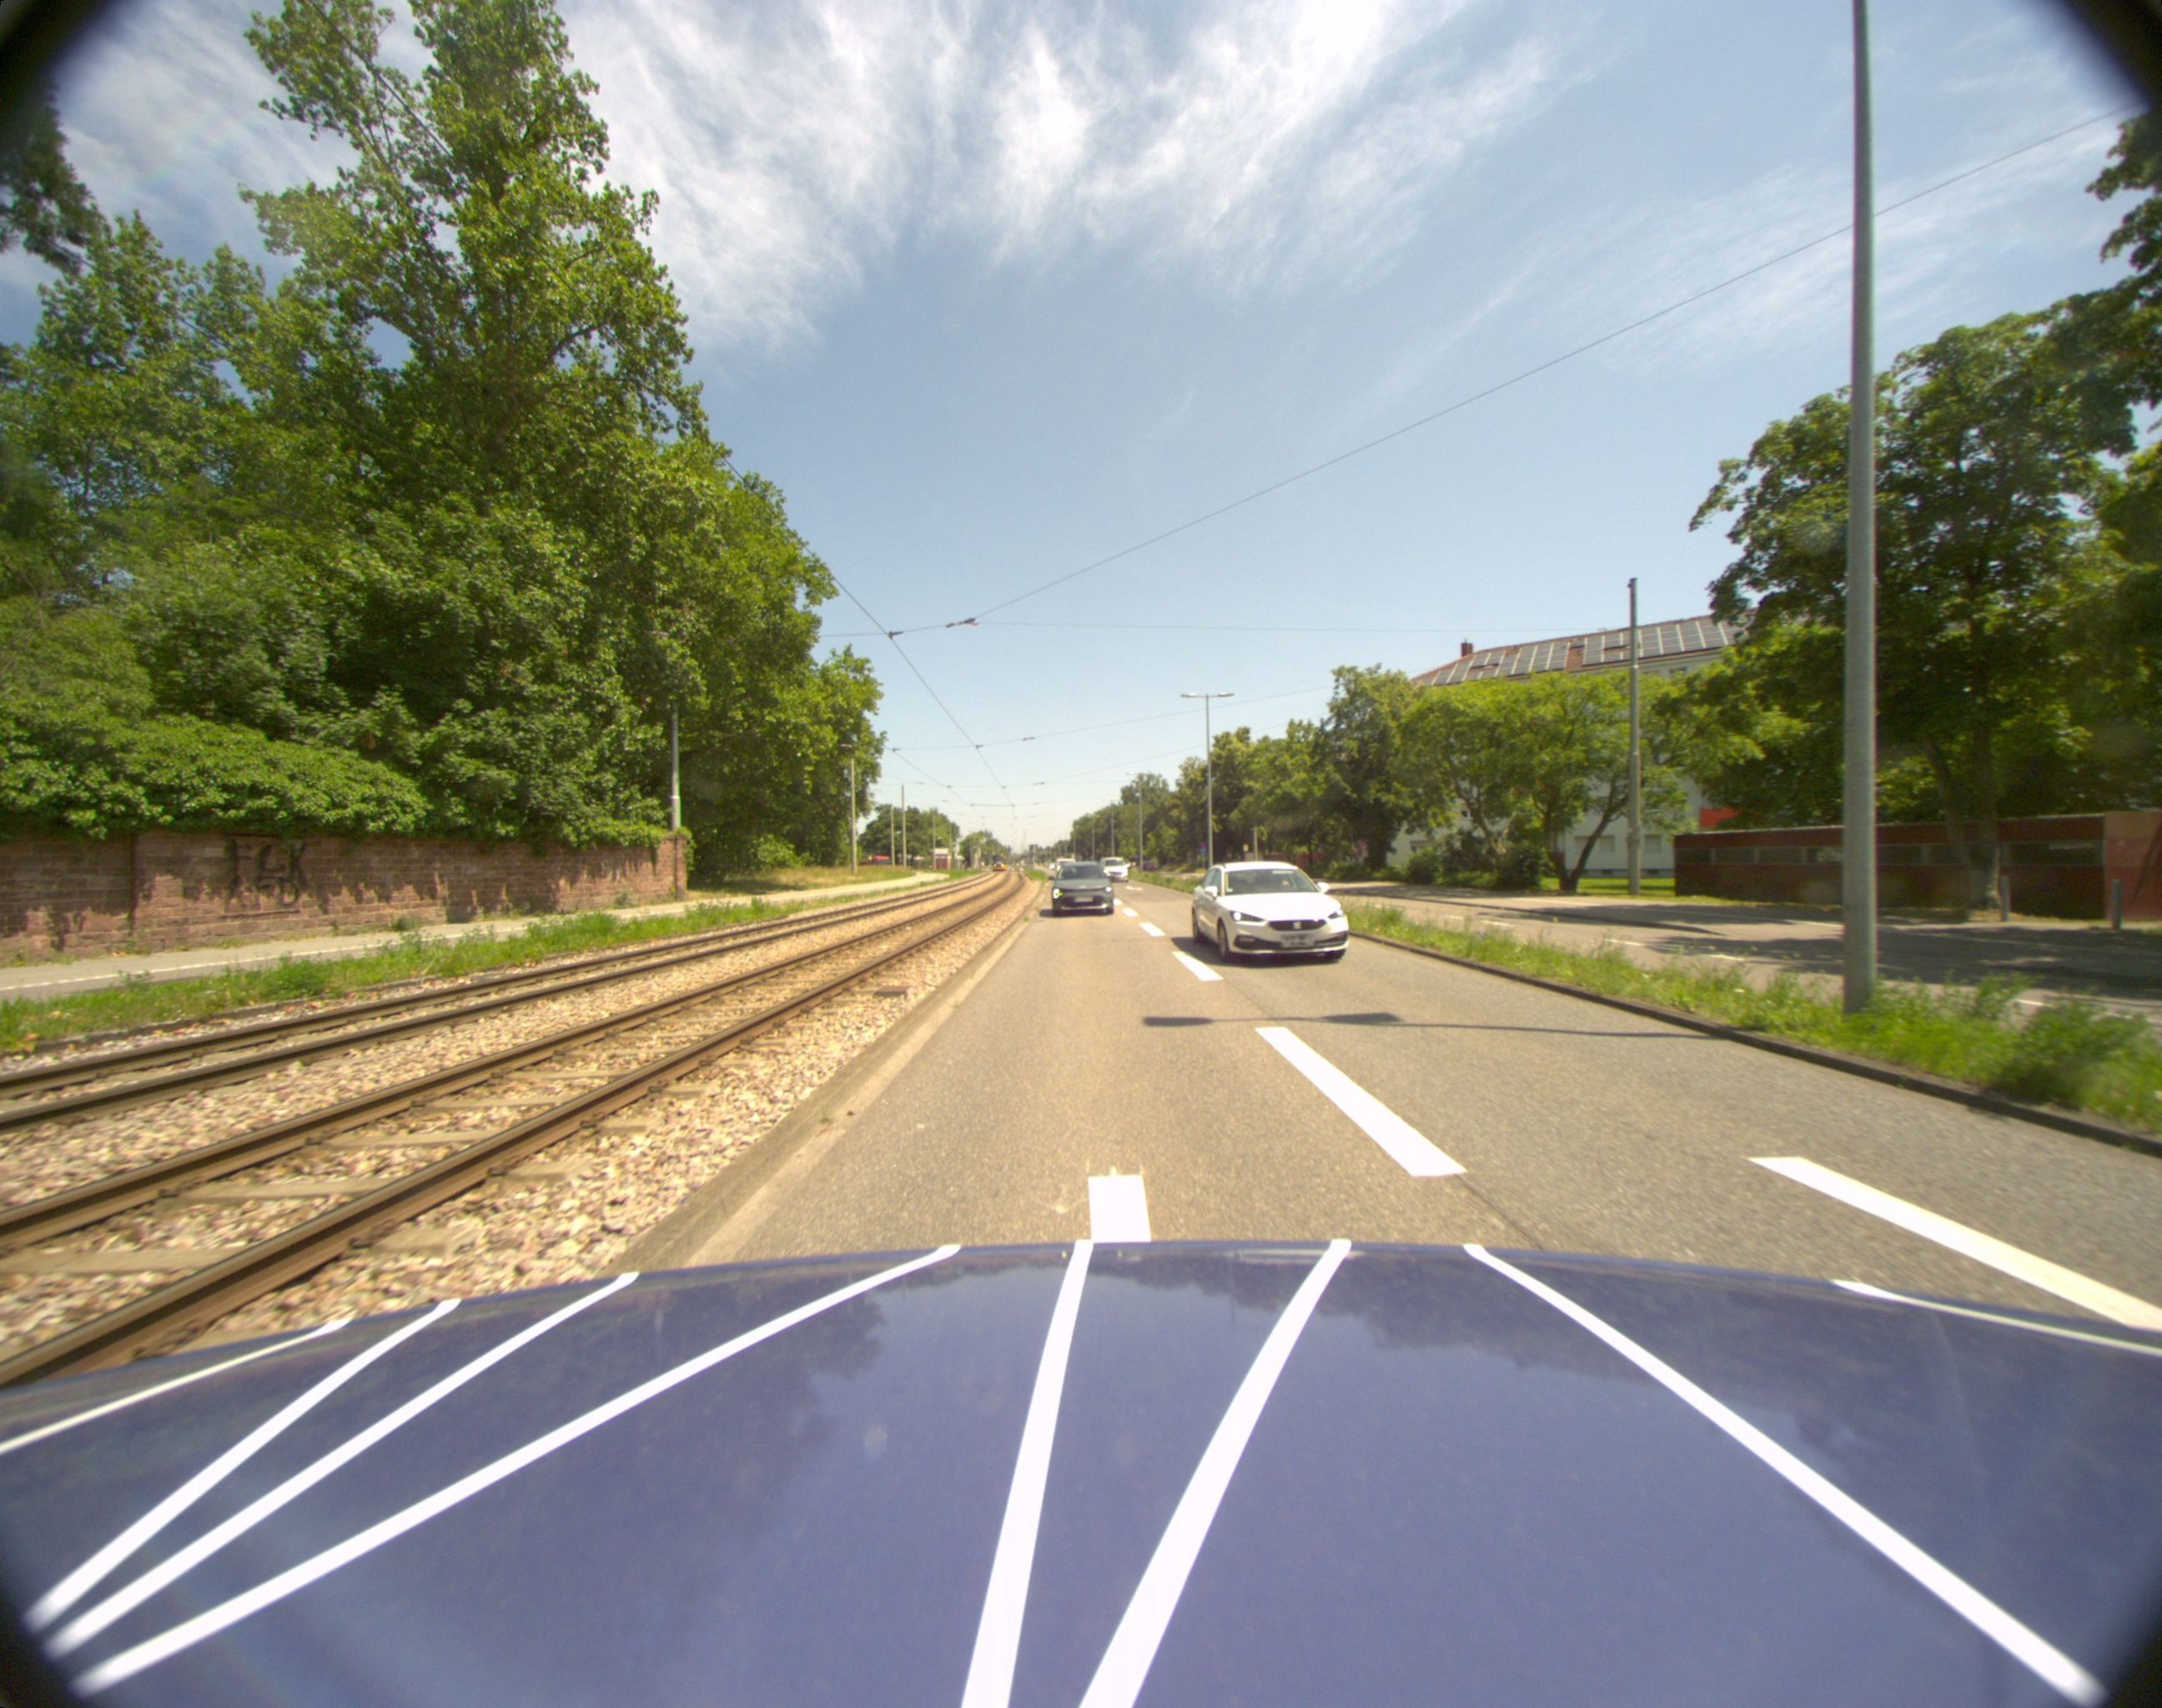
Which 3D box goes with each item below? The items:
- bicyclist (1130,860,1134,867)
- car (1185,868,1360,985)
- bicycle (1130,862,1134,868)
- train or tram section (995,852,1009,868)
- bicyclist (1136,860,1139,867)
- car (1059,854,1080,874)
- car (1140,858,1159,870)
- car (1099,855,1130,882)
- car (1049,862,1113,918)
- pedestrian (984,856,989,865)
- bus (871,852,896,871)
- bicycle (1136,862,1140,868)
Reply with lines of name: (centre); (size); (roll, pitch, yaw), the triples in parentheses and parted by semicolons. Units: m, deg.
bicyclist: (9.599, 1.790, 143.385); (0.546, 1.338, 0.755); (0, 0, -5)
car: (2.873, 1.014, 12.334); (1.772, 1.460, 4.111); (-2, 0, 0)
bicycle: (9.614, 2.036, 142.976); (0.590, 1.126, 1.615); (0, 0, -4)
train or tram section: (-16.670, 1.266, 160.472); (2.525, 3.303, 7.258); (0, 0, -4)
bicyclist: (10.674, 1.798, 143.113); (0.358, 1.383, 0.440); (-2, 0, -2)
car: (-1.186, 0.988, 75.615); (1.921, 2.002, 3.999); (0, 0, -3)
car: (9.161, 1.333, 102.192); (1.928, 1.616, 4.755); (1, 0, -2)
car: (2.505, 1.073, 57.329); (1.999, 2.002, 3.999); (0, 0, -2)
car: (-0.090, 1.037, 23.414); (1.788, 1.554, 4.134); (0, 0, -2)
pedestrian: (-18.481, 1.330, 148.527); (0.637, 1.749, 0.815); (-2, 1, -18)
bus: (-39.930, 1.508, 153.243); (2.771, 3.419, 12.421); (-3, 1, -24)
bicycle: (10.715, 2.020, 142.676); (0.555, 1.088, 1.379); (-2, 1, -3)
